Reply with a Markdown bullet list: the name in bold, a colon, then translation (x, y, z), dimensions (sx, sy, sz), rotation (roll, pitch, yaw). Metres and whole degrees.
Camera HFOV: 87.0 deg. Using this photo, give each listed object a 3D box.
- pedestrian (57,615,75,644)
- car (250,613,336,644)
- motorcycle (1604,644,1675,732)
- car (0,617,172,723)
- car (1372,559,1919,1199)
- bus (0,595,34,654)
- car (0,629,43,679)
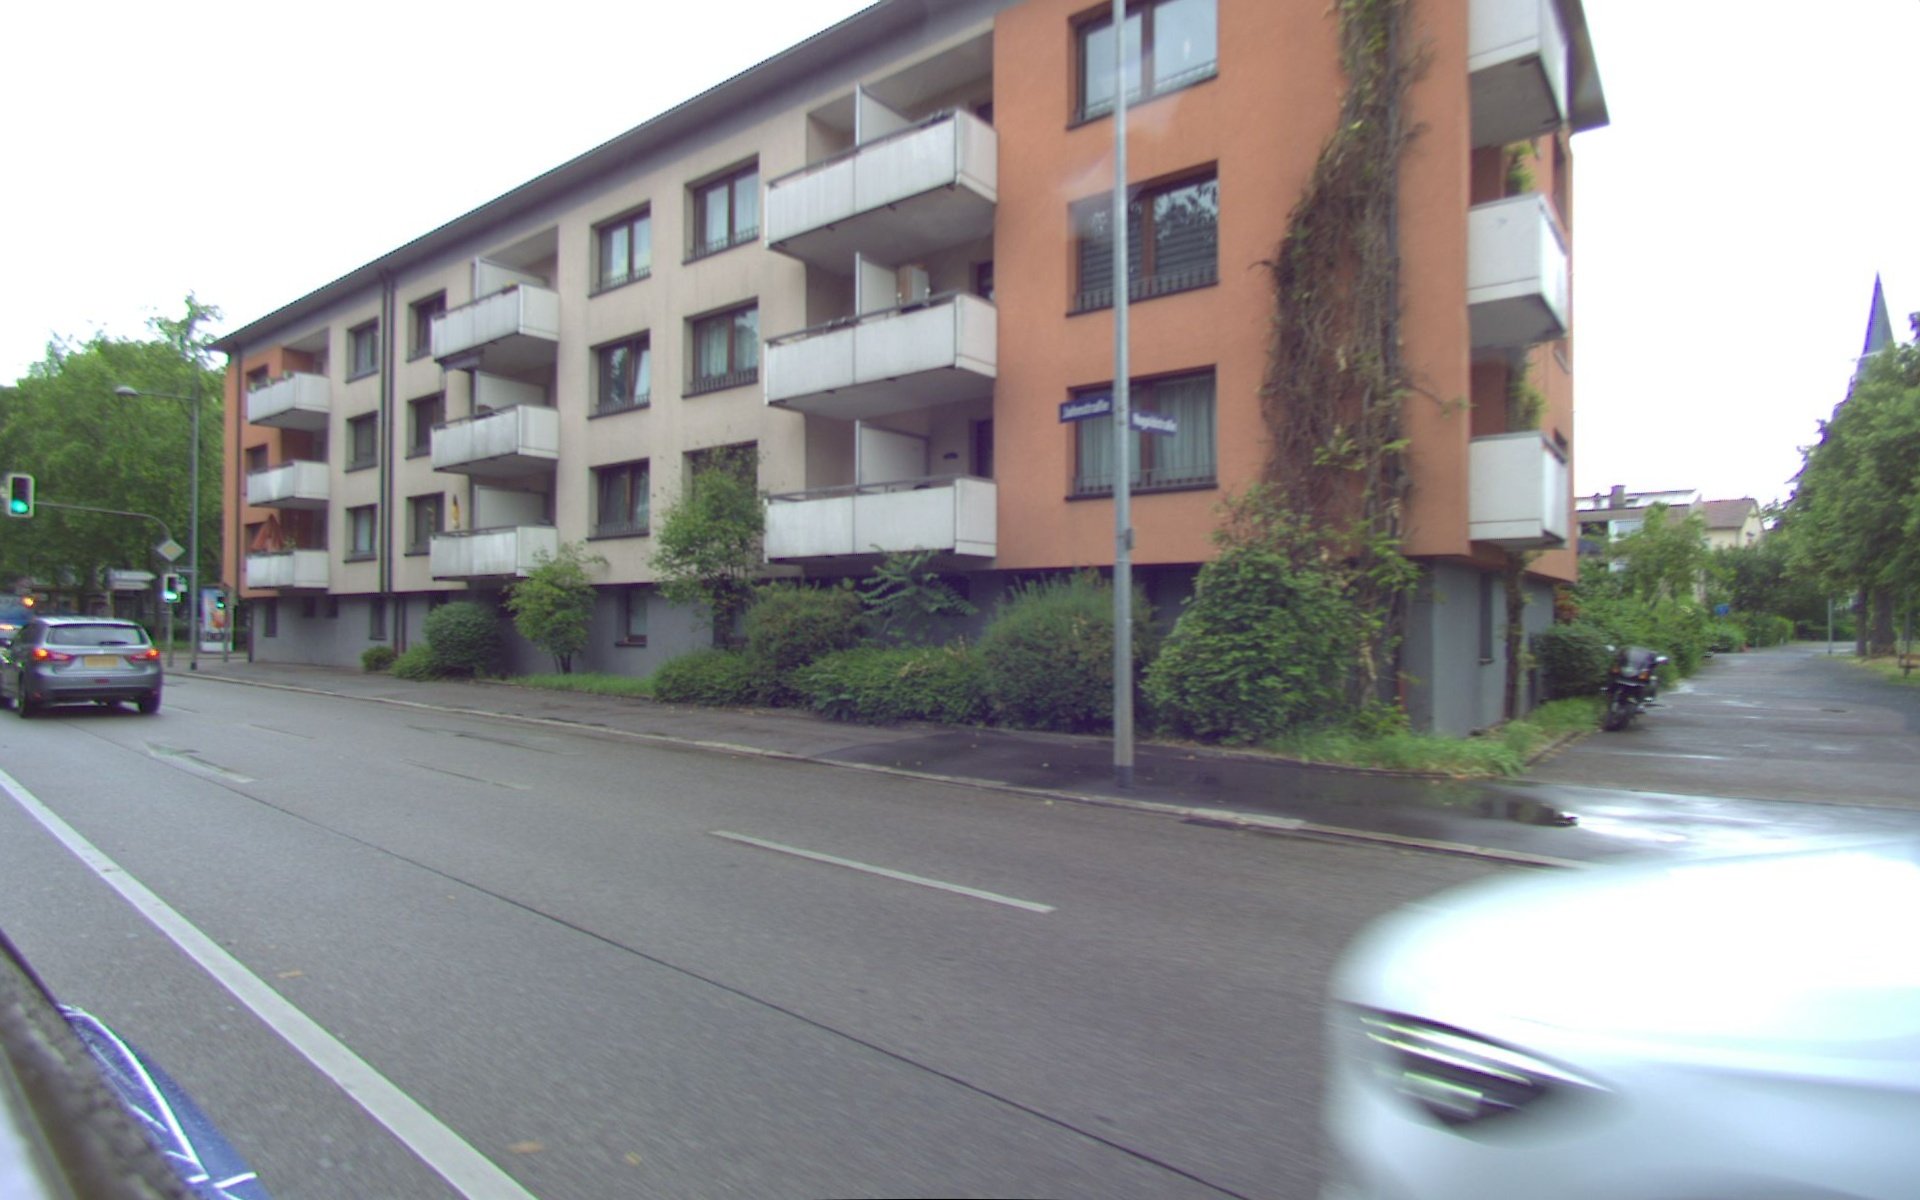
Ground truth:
- **pedestrian**: translation (-55.502, 1.831, 62.845), dimensions (0.687, 1.782, 0.702), rotation (-1, 1, 41)
- **car**: translation (-42.930, 1.873, 65.192), dimensions (1.701, 1.937, 4.281), rotation (-1, -2, 38)
- **motorcycle**: translation (10.745, 1.341, 15.962), dimensions (0.780, 1.273, 2.371), rotation (-3, -4, 36)
- **car**: translation (-15.123, 1.137, 17.239), dimensions (4.228, 1.591, 1.795), rotation (-2, -3, 40)
- **car**: translation (2.830, 0.685, 0.978), dimensions (4.164, 1.485, 1.763), rotation (-2, -3, 41)
- **bus**: translation (-52.445, 1.275, 54.323), dimensions (12.078, 2.962, 2.665), rotation (-1, -2, 41)
- **car**: translation (-28.615, 1.570, 29.813), dimensions (4.045, 1.426, 1.794), rotation (-2, -3, 40)
